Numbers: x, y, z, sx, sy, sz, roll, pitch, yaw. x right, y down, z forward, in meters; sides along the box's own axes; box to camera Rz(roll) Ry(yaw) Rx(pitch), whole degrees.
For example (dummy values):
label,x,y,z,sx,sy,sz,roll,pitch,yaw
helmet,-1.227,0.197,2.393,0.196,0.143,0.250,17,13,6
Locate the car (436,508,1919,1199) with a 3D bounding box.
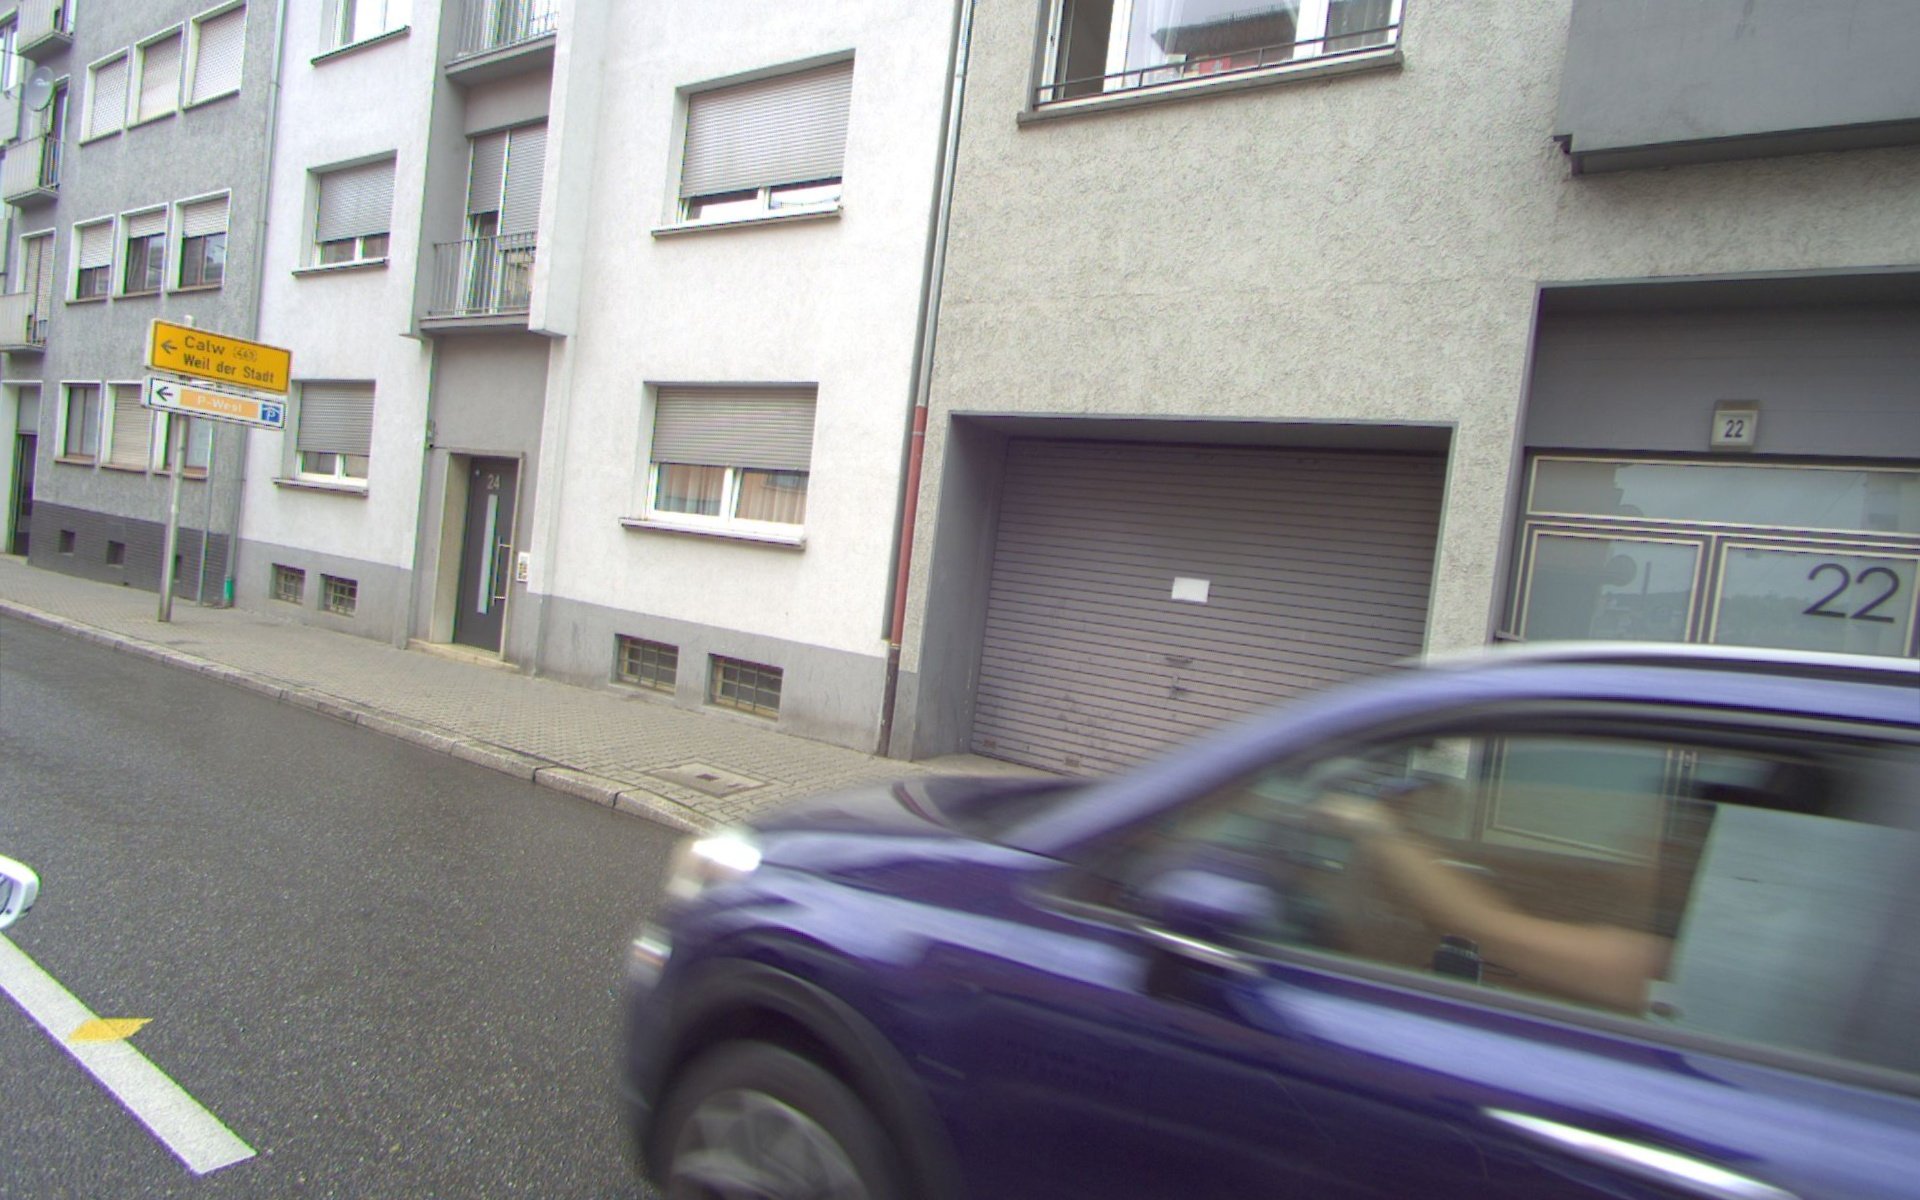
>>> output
label,x,y,z,sx,sy,sz,roll,pitch,yaw
car,1.056,0.857,1.895,3.934,1.600,1.769,7,0,32
